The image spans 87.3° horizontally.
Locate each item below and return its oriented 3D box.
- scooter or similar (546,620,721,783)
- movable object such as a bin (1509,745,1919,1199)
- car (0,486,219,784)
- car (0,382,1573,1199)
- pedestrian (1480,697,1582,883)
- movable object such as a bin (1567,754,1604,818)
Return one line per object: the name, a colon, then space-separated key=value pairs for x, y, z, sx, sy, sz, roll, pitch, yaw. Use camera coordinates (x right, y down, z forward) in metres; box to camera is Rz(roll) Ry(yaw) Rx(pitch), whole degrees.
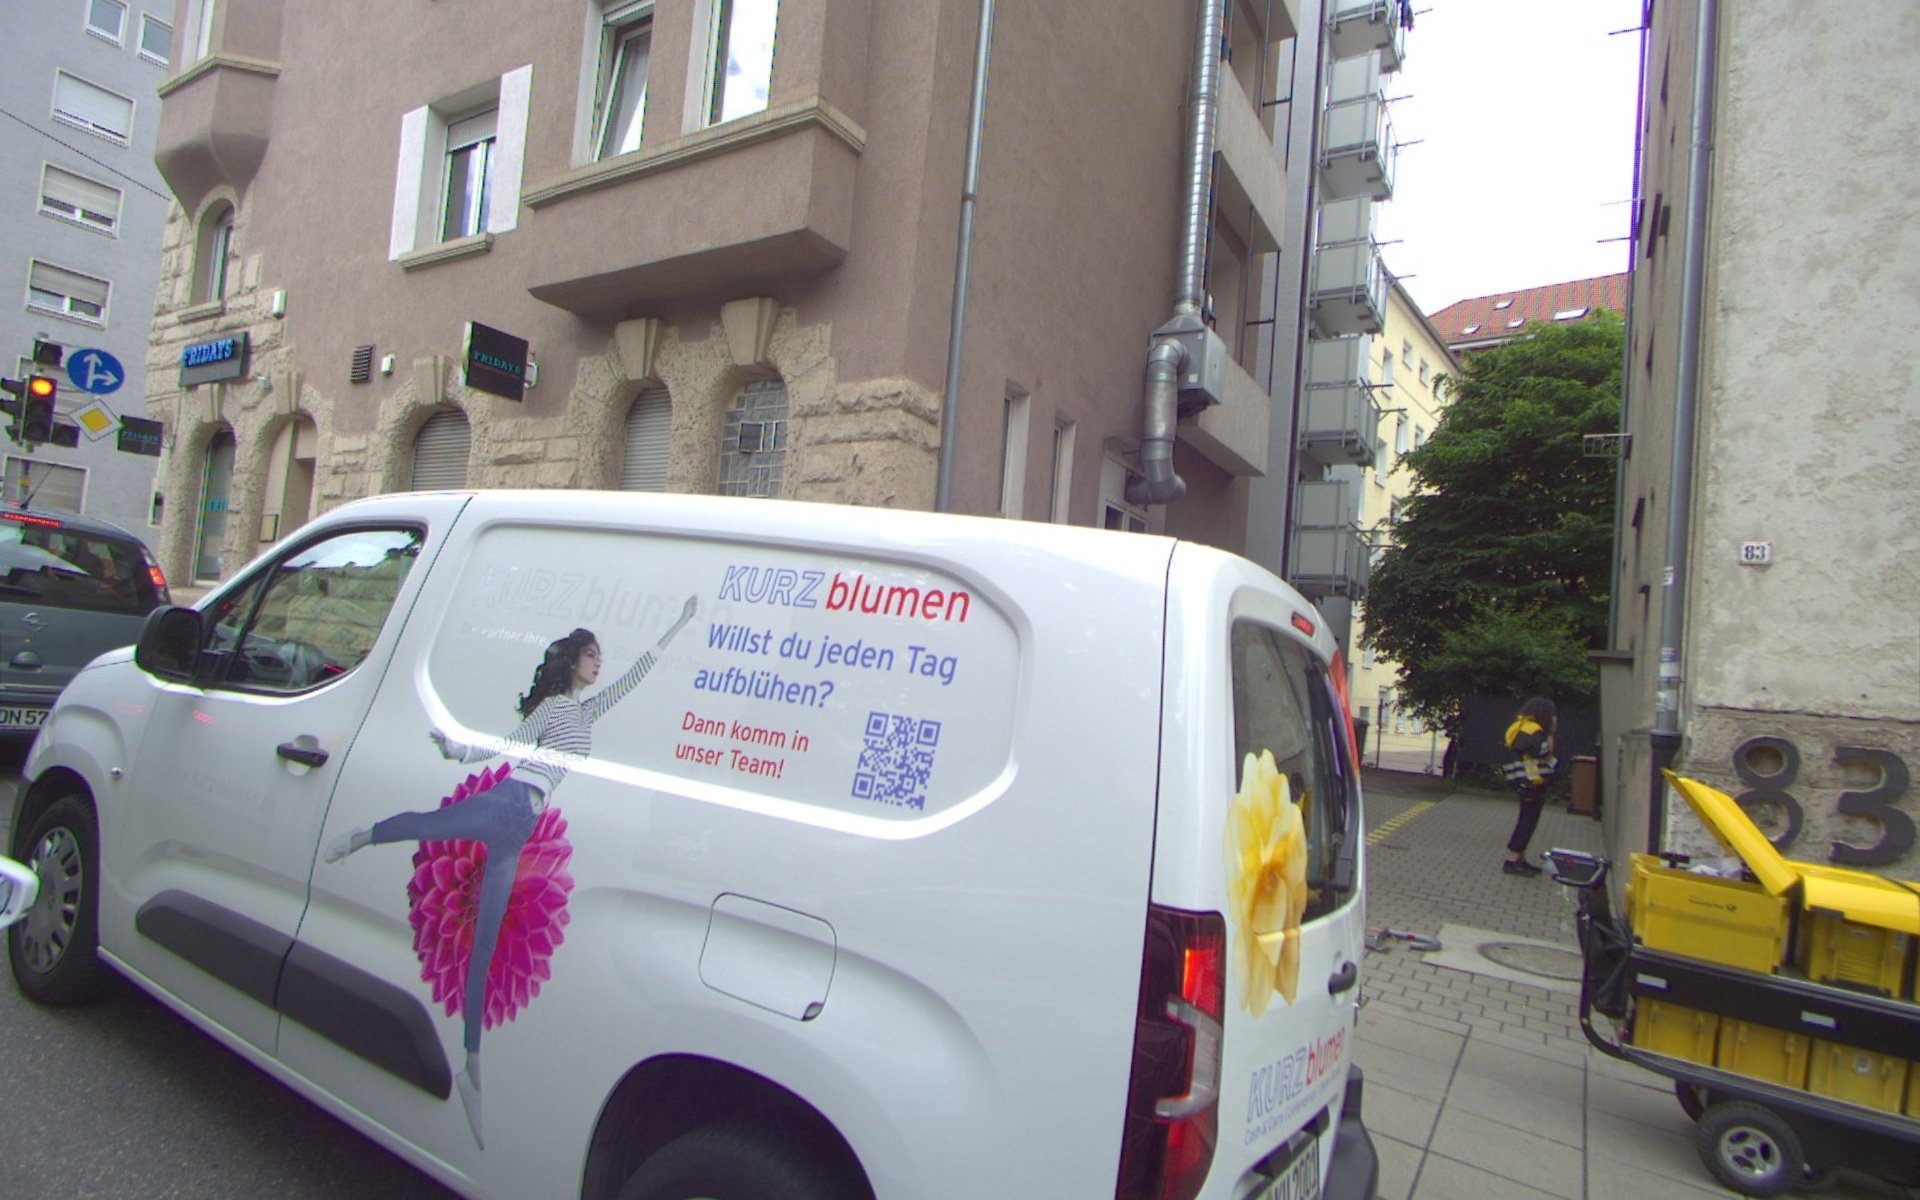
scooter or similar: x=-2.721 y=0.812 z=8.339 sx=1.400 sy=1.117 sz=0.527 roll=6 pitch=-1 yaw=34
movable object such as a bin: x=3.373 y=1.459 z=3.981 sx=1.979 sy=1.391 sz=1.223 roll=6 pitch=0 yaw=30
car: x=-6.708 y=0.050 z=6.528 sx=3.608 sy=1.614 sz=1.634 roll=6 pitch=-5 yaw=32
car: x=-0.923 y=0.571 z=3.131 sx=4.597 sy=1.793 sz=1.983 roll=6 pitch=-5 yaw=30
pedestrian: x=5.569 y=1.806 z=9.847 sx=0.770 sy=1.665 sz=0.811 roll=1 pitch=-3 yaw=24
movable object such as a bin: x=9.933 y=2.947 z=15.980 sx=0.405 sy=0.922 sz=0.340 roll=6 pitch=-1 yaw=32
